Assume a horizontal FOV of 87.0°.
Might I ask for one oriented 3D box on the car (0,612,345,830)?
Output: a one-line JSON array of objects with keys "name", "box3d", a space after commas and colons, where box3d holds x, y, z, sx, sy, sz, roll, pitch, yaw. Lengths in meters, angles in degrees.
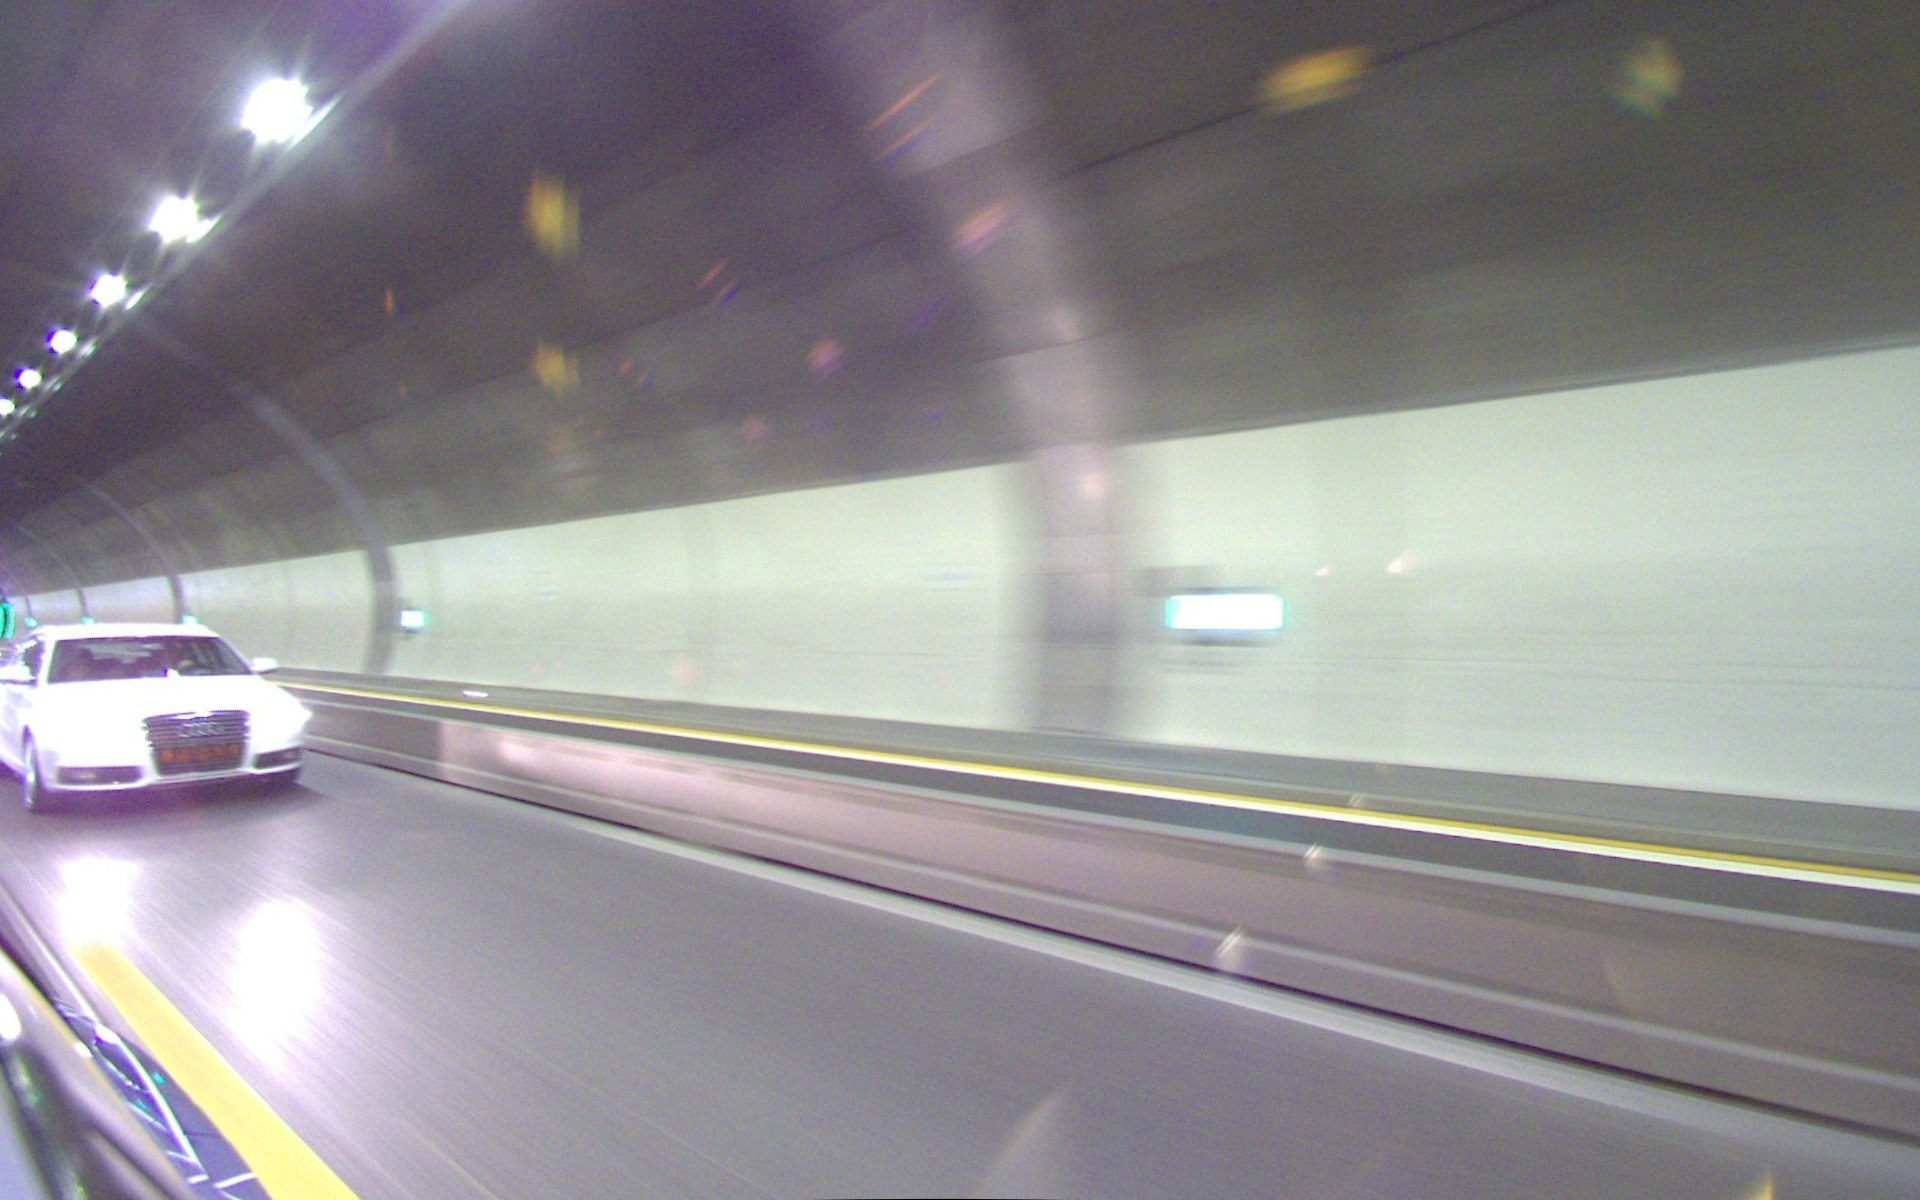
[{"name": "car", "box3d": [-7.585, 0.911, 9.292, 4.940, 1.496, 1.884, -2, -2, 41]}]
